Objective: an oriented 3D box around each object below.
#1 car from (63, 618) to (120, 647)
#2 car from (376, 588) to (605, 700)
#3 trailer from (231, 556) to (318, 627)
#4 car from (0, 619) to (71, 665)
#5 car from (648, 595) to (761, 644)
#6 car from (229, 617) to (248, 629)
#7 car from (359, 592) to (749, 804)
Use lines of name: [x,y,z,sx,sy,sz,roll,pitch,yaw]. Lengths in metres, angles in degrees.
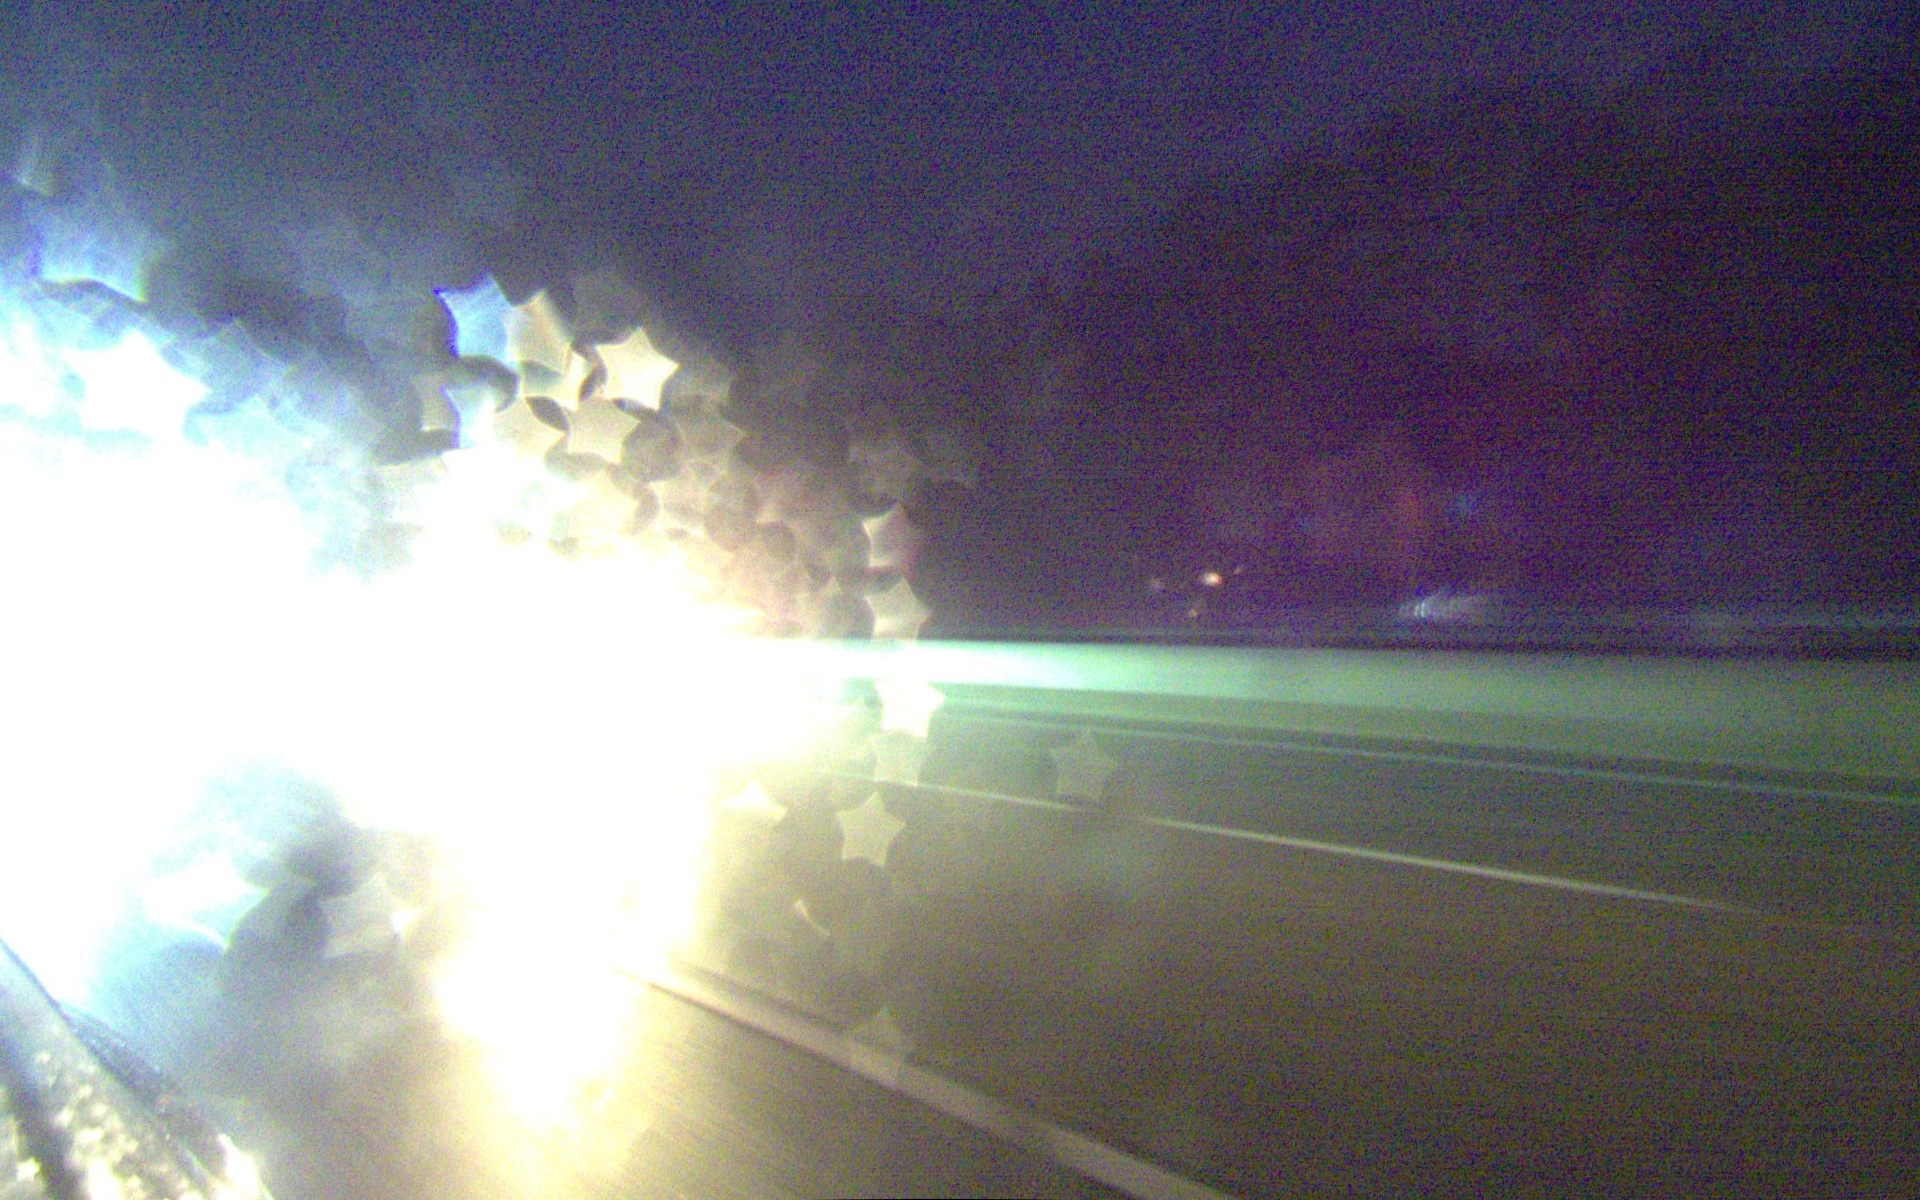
car: [-53.987,1.992,62.868,3.872,1.621,2.279,-1,1,44]
car: [-8.844,0.731,18.858,4.883,1.790,1.974,-1,1,40]
trailer: [-66.033,-0.697,97.235,14.410,6.171,3.426,-1,4,44]
car: [-38.274,1.700,41.815,4.001,1.689,1.971,-1,1,44]
car: [-9.496,0.711,37.429,4.251,1.655,1.973,-1,1,41]
car: [-102.679,3.252,143.954,1.754,1.482,3.990,-4,2,-41]
car: [-4.149,0.778,9.998,4.232,1.606,1.895,-1,1,42]
